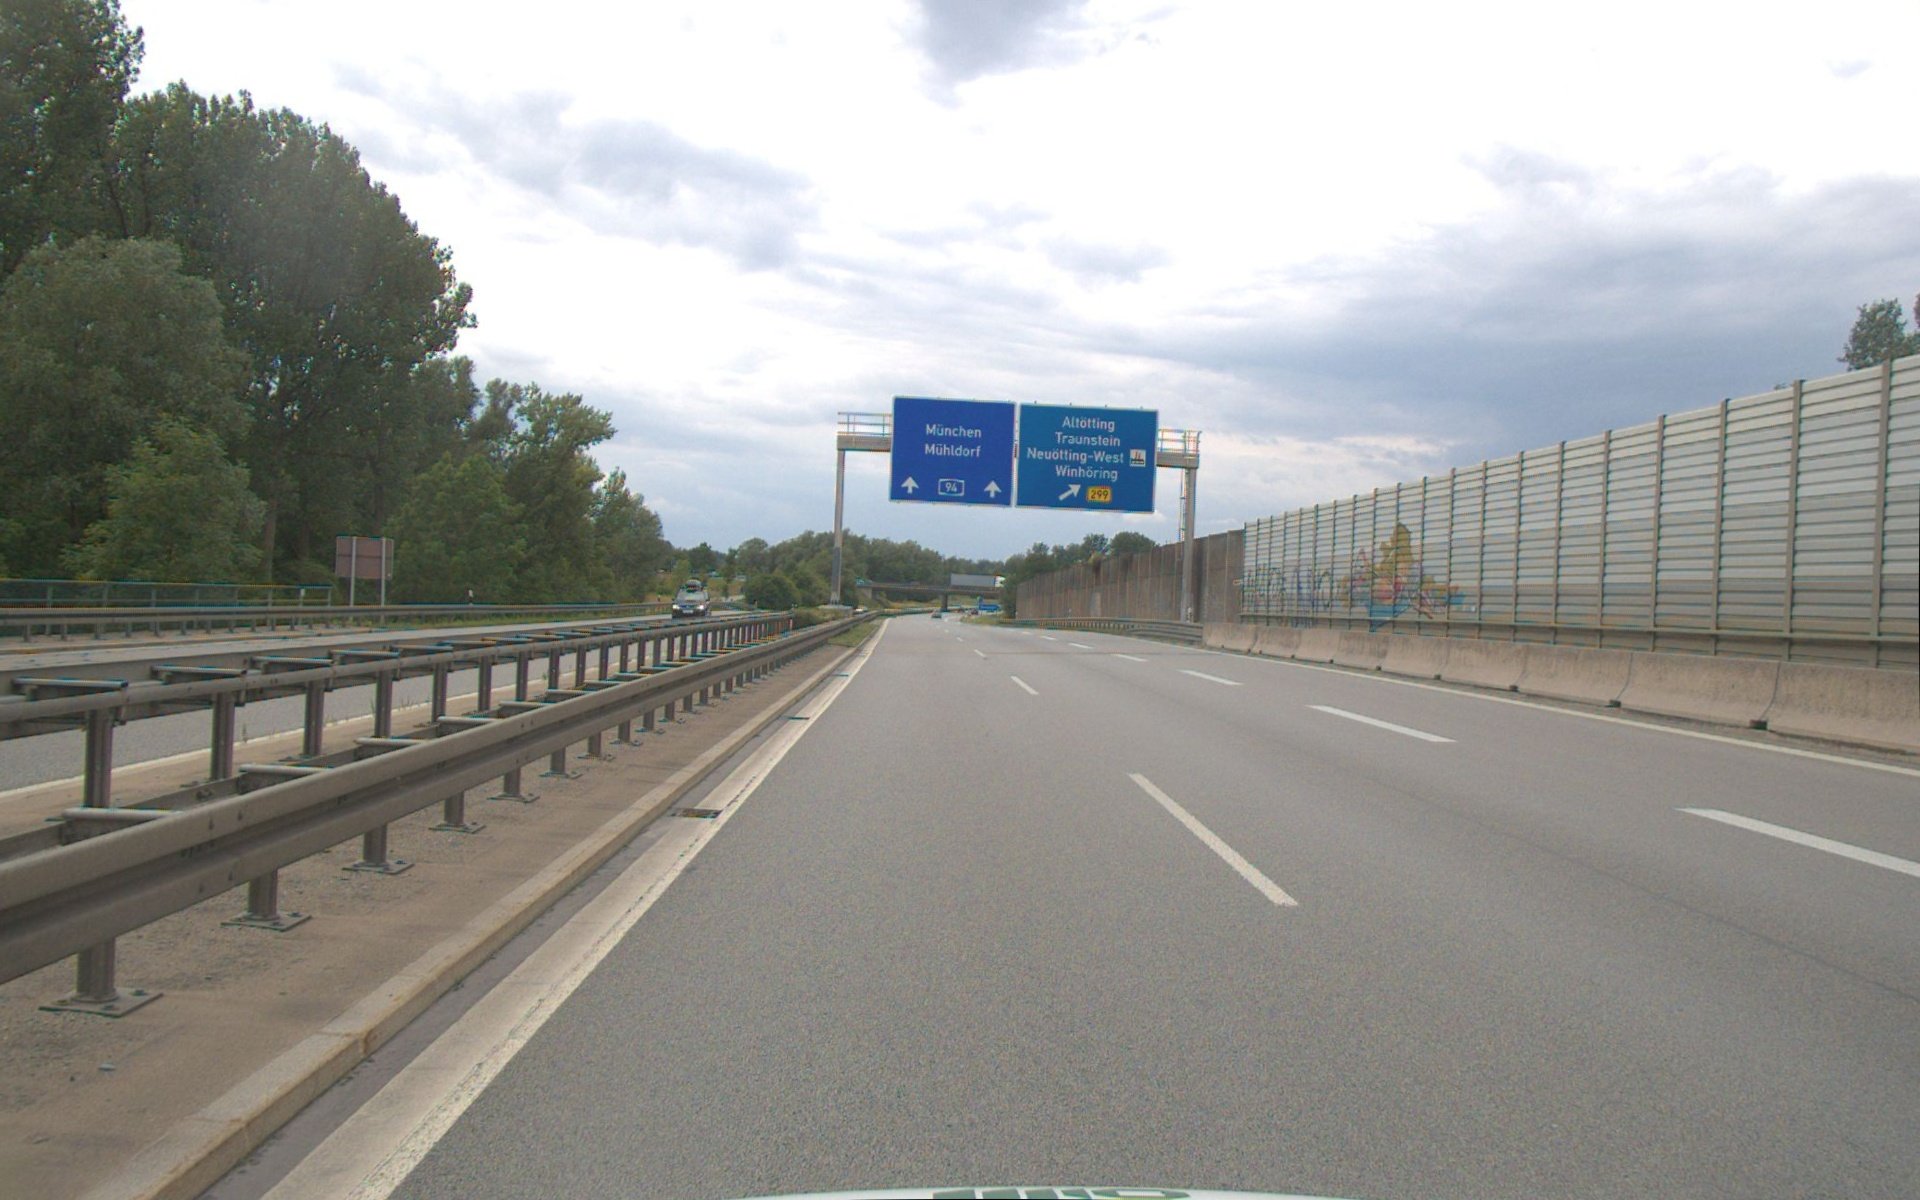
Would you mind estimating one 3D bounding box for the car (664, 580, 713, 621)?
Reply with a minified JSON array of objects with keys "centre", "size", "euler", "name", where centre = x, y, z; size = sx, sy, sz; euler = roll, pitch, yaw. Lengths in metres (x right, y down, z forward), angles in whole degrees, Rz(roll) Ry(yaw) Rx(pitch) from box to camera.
[{"centre":[-14.056,0.026,85.912],"size":[1.954,2.037,4.741],"euler":[1,0,-3],"name":"car"}]
